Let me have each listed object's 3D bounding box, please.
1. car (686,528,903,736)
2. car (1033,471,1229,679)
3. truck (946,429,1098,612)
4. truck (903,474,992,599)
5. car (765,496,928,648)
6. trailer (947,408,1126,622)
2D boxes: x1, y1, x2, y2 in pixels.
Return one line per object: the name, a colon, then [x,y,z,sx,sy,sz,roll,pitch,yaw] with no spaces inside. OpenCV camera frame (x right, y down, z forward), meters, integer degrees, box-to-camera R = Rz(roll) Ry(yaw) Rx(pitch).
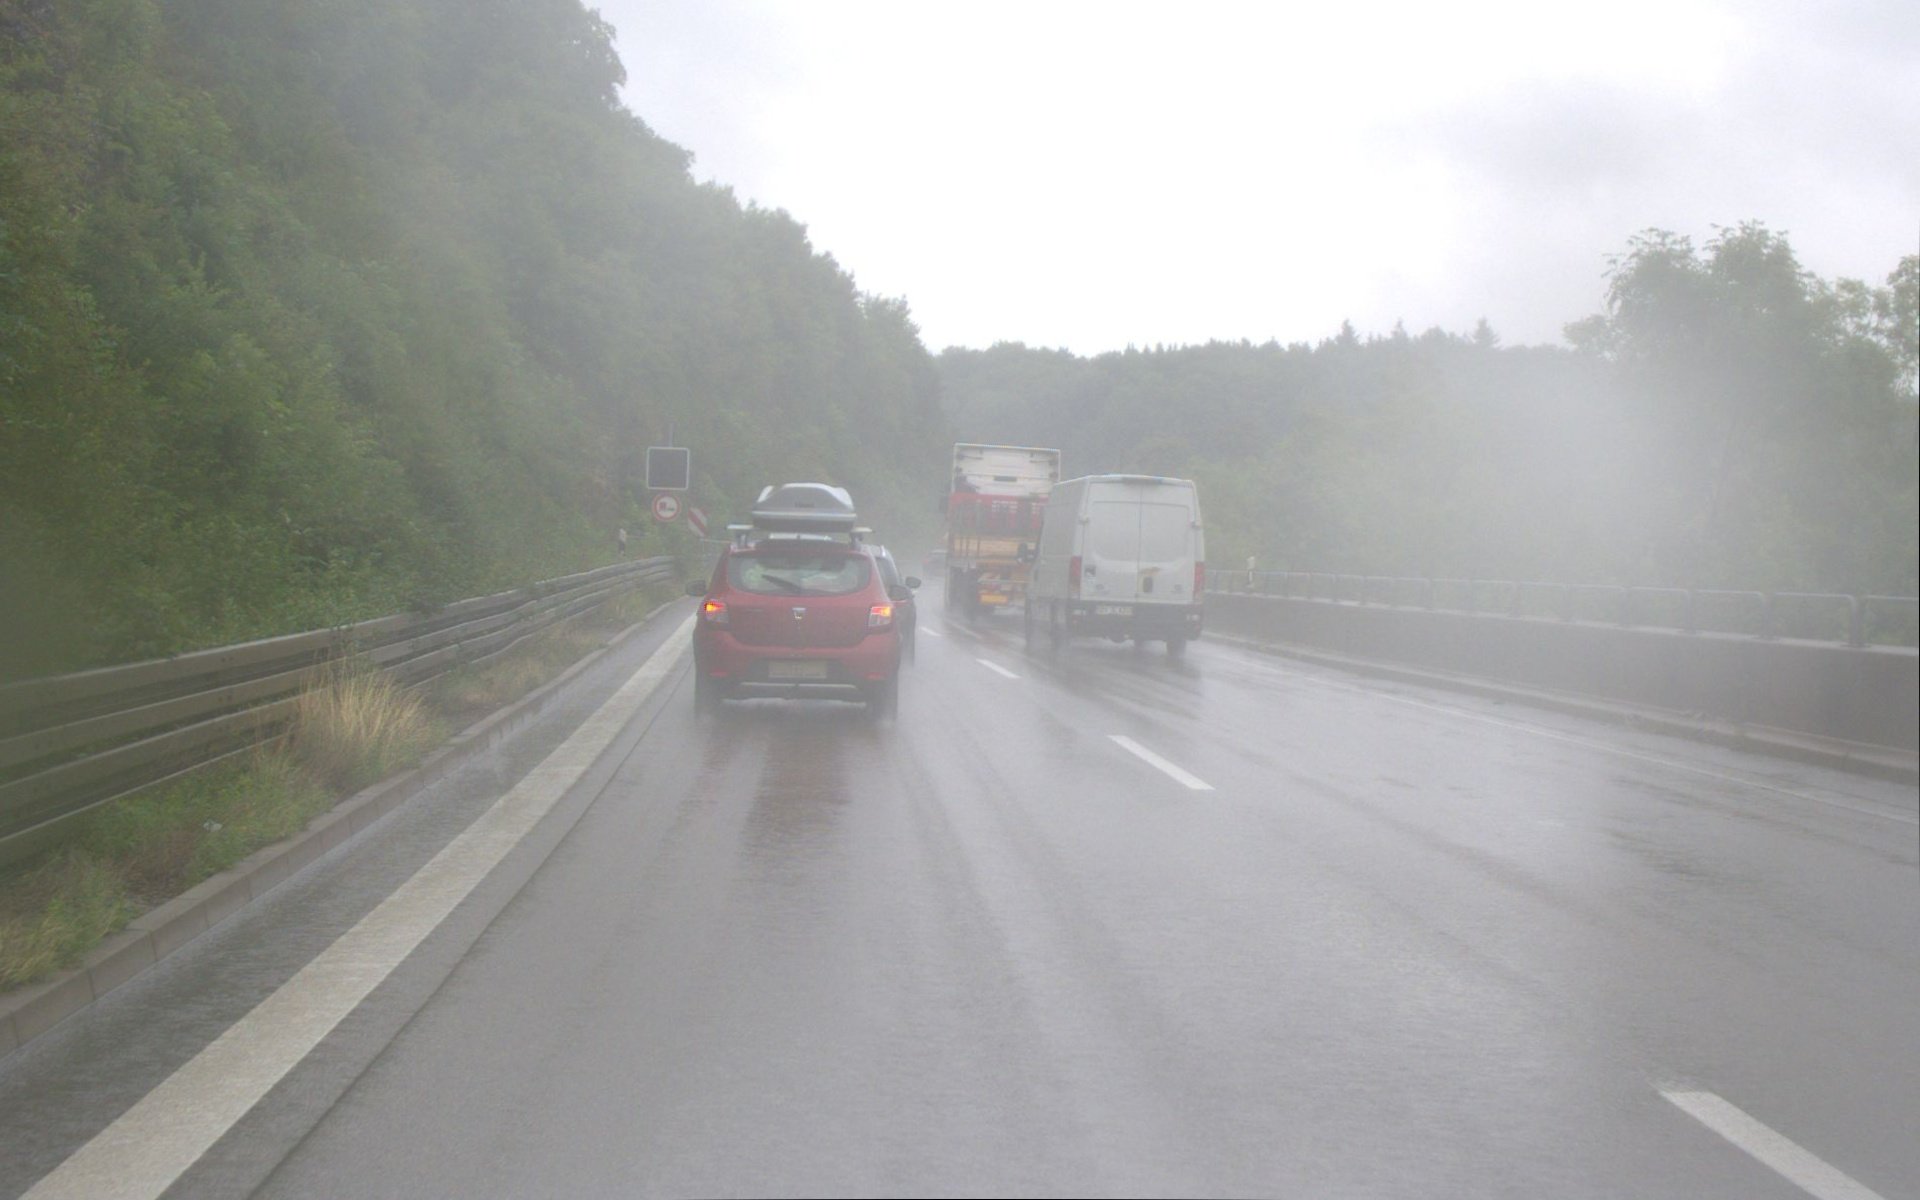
car: [-1.428,0.245,29.864,1.758,1.679,4.000,0,0,-3]
car: [2.473,-0.406,51.829,2.206,2.784,7.383,3,1,-2]
truck: [1.387,-1.812,79.797,3.219,3.964,5.439,2,1,-1]
truck: [-0.541,-2.417,132.853,3.222,4.666,8.300,0,0,-2]
car: [-1.363,-0.322,40.502,1.832,1.709,3.645,0,0,-3]
trailer: [1.448,-1.717,72.819,3.218,3.985,13.524,2,1,-1]
